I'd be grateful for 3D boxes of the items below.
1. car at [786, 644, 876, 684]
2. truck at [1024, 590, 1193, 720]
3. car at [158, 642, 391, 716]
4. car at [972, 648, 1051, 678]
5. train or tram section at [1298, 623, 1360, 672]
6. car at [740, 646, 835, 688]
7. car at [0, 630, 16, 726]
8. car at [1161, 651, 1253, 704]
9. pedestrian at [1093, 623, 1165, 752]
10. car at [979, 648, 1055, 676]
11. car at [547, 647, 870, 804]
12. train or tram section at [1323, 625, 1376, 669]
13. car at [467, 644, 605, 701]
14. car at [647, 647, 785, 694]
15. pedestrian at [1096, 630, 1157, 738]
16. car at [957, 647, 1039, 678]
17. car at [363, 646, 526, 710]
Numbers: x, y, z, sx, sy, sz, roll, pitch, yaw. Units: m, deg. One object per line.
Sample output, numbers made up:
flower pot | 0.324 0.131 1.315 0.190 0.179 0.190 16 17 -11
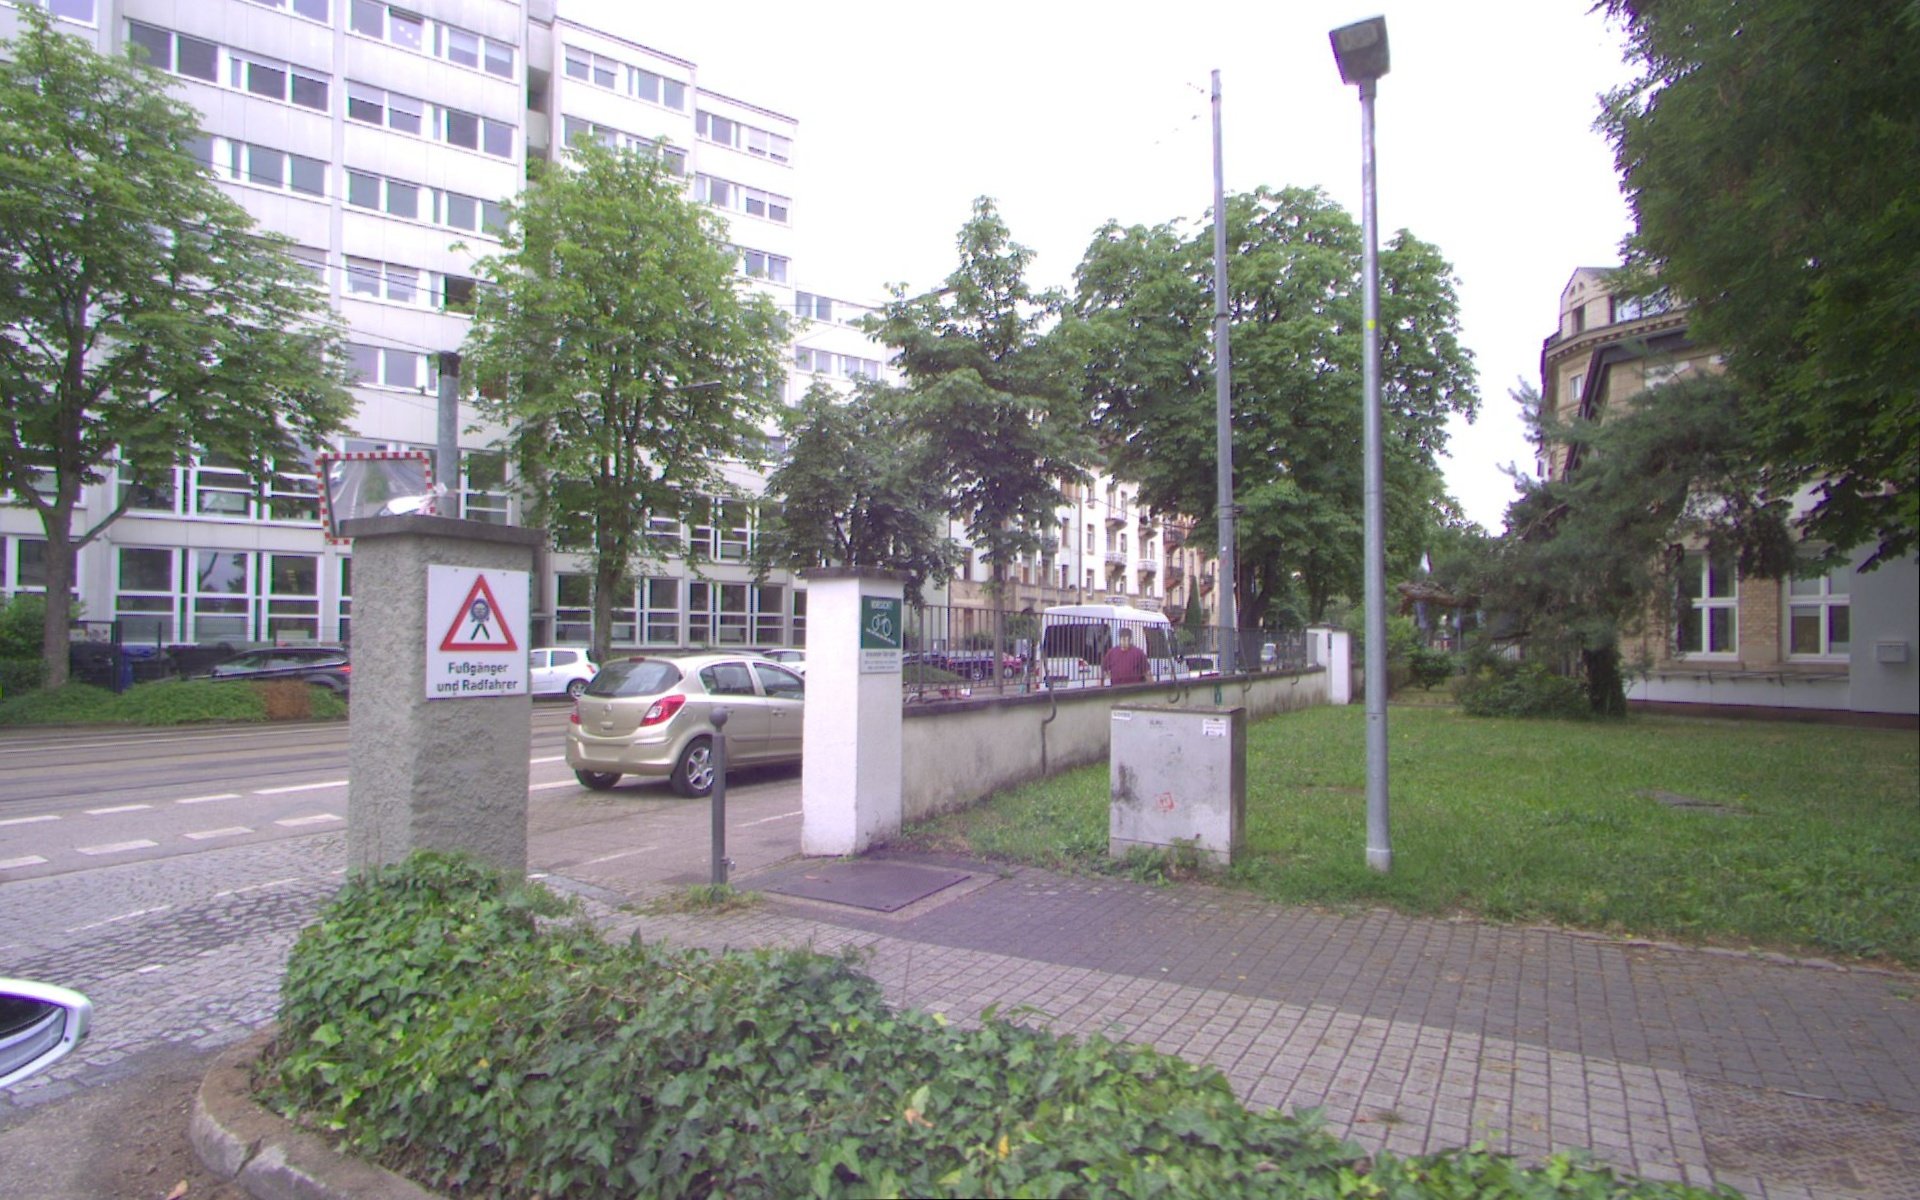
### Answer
car | -5.040 2.482 39.067 3.328 1.492 1.415 1 -2 -14
truck | 3.486 1.215 22.609 2.137 2.578 4.908 -1 -3 30
car | -14.925 1.685 22.052 3.885 1.492 1.671 1 -2 -18
car | 2.612 3.166 50.728 3.723 1.460 1.692 1 -2 -9
train or tram section | 29.903 3.759 80.772 2.628 3.660 12.406 -1 -2 30
car | -6.280 2.422 36.414 3.328 1.492 1.416 1 -2 -14
car | -17.875 1.300 16.264 3.344 1.638 1.556 0 -2 -12
car | 7.146 2.175 28.772 1.783 1.371 3.799 -1 -2 27
pedestrian | 2.402 1.213 14.149 0.795 1.740 0.953 0 -2 24
car | 2.999 3.271 53.074 3.723 1.460 1.692 1 -2 -9
car | -2.759 1.318 11.721 1.641 1.519 3.579 -1 -3 30
train or tram section | 34.983 4.139 89.680 2.628 3.660 12.406 -1 -2 30
car | -11.647 1.973 27.701 3.328 1.492 1.415 0 -2 -14
car | -8.191 2.379 33.647 4.420 1.491 1.416 1 -4 -18
pedestrian | 2.788 1.378 16.682 0.789 1.740 0.953 -1 -2 24
car | 1.803 3.007 48.113 3.723 1.460 1.692 1 -2 -9
car | -12.676 1.897 24.795 3.328 1.492 1.415 0 -2 -14
